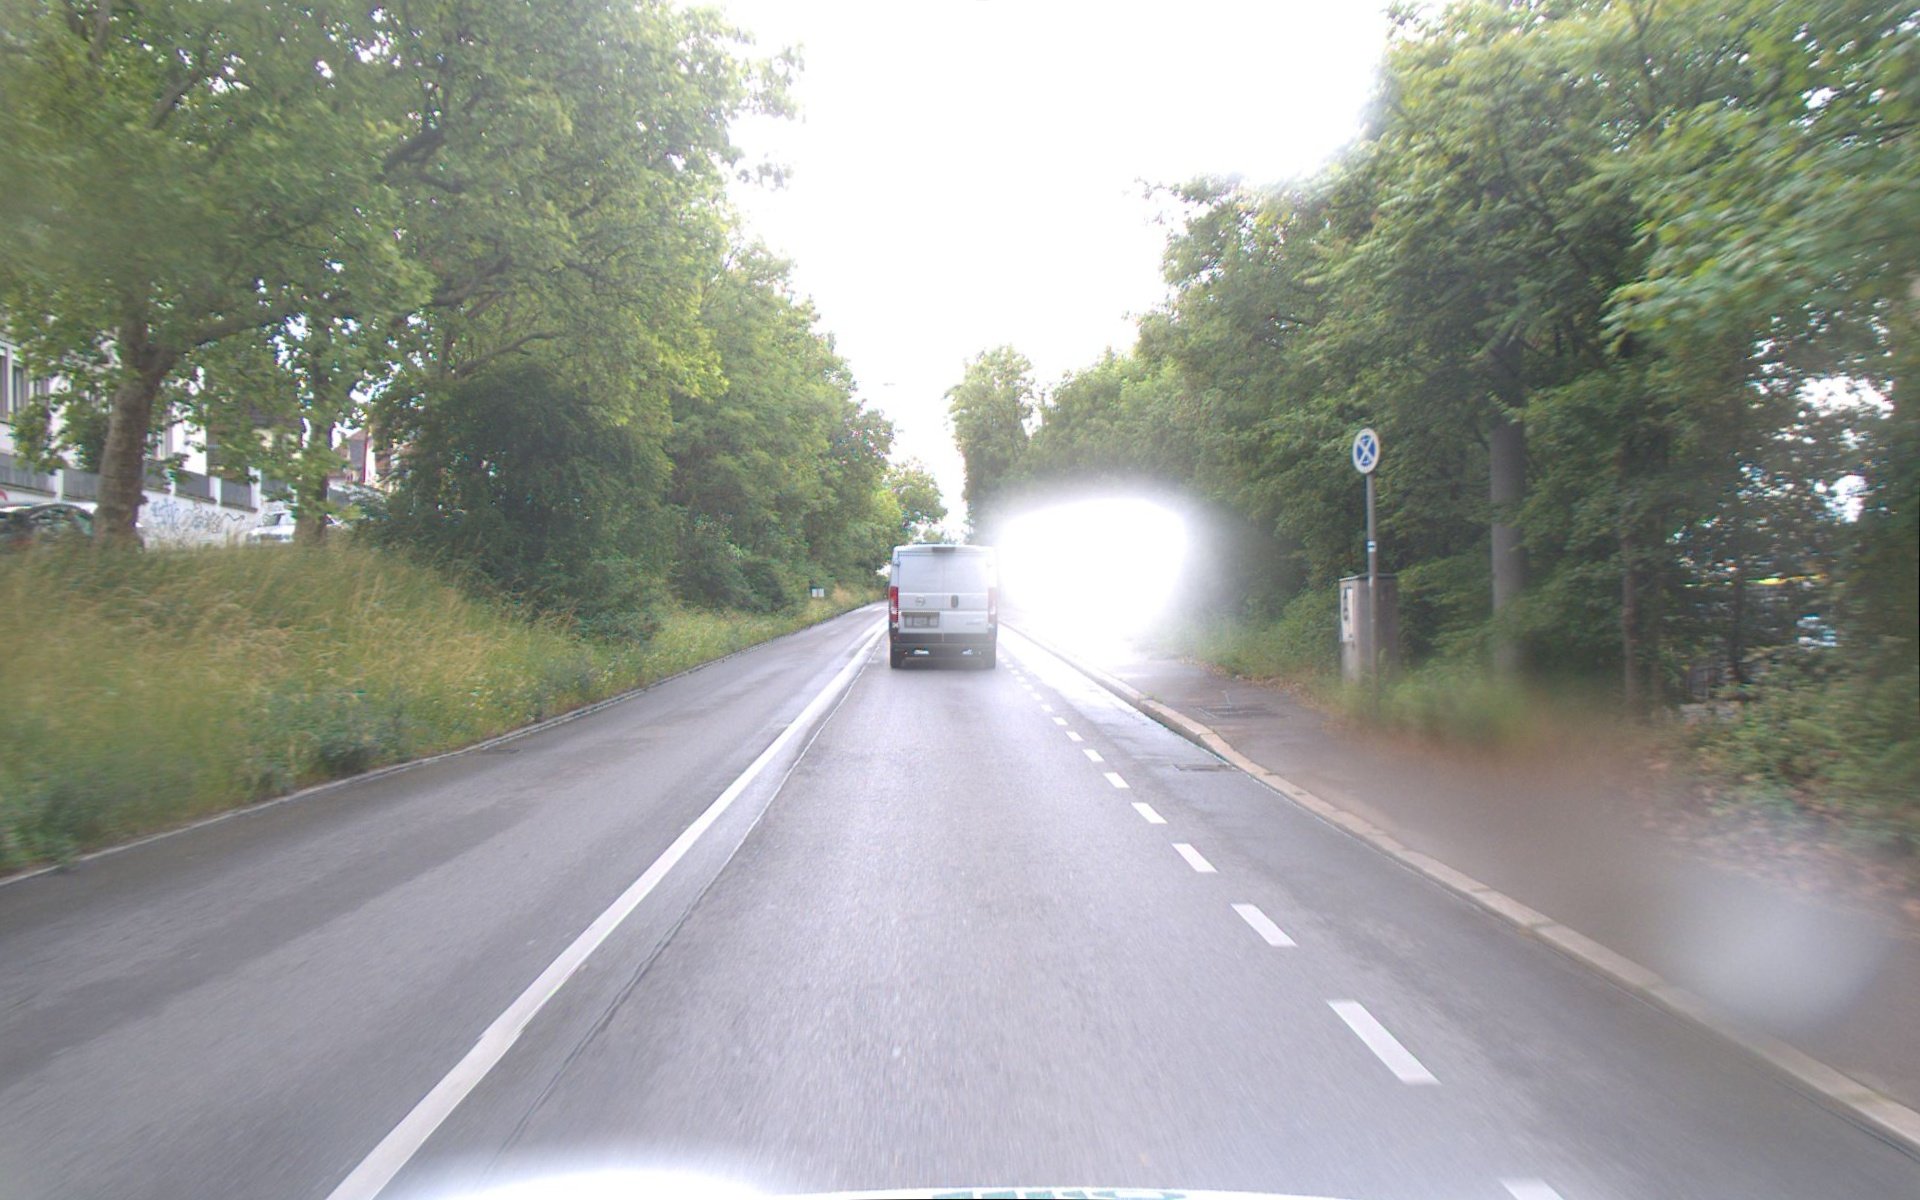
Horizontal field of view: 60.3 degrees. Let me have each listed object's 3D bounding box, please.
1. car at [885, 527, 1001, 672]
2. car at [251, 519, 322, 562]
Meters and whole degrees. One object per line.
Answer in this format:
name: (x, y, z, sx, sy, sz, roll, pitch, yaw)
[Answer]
car: (-0.330, -0.055, 32.232, 2.008, 2.560, 4.943, 2, 1, -1)
car: (-20.631, -1.810, 50.752, 1.189, 1.153, 2.451, -2, -1, -1)
